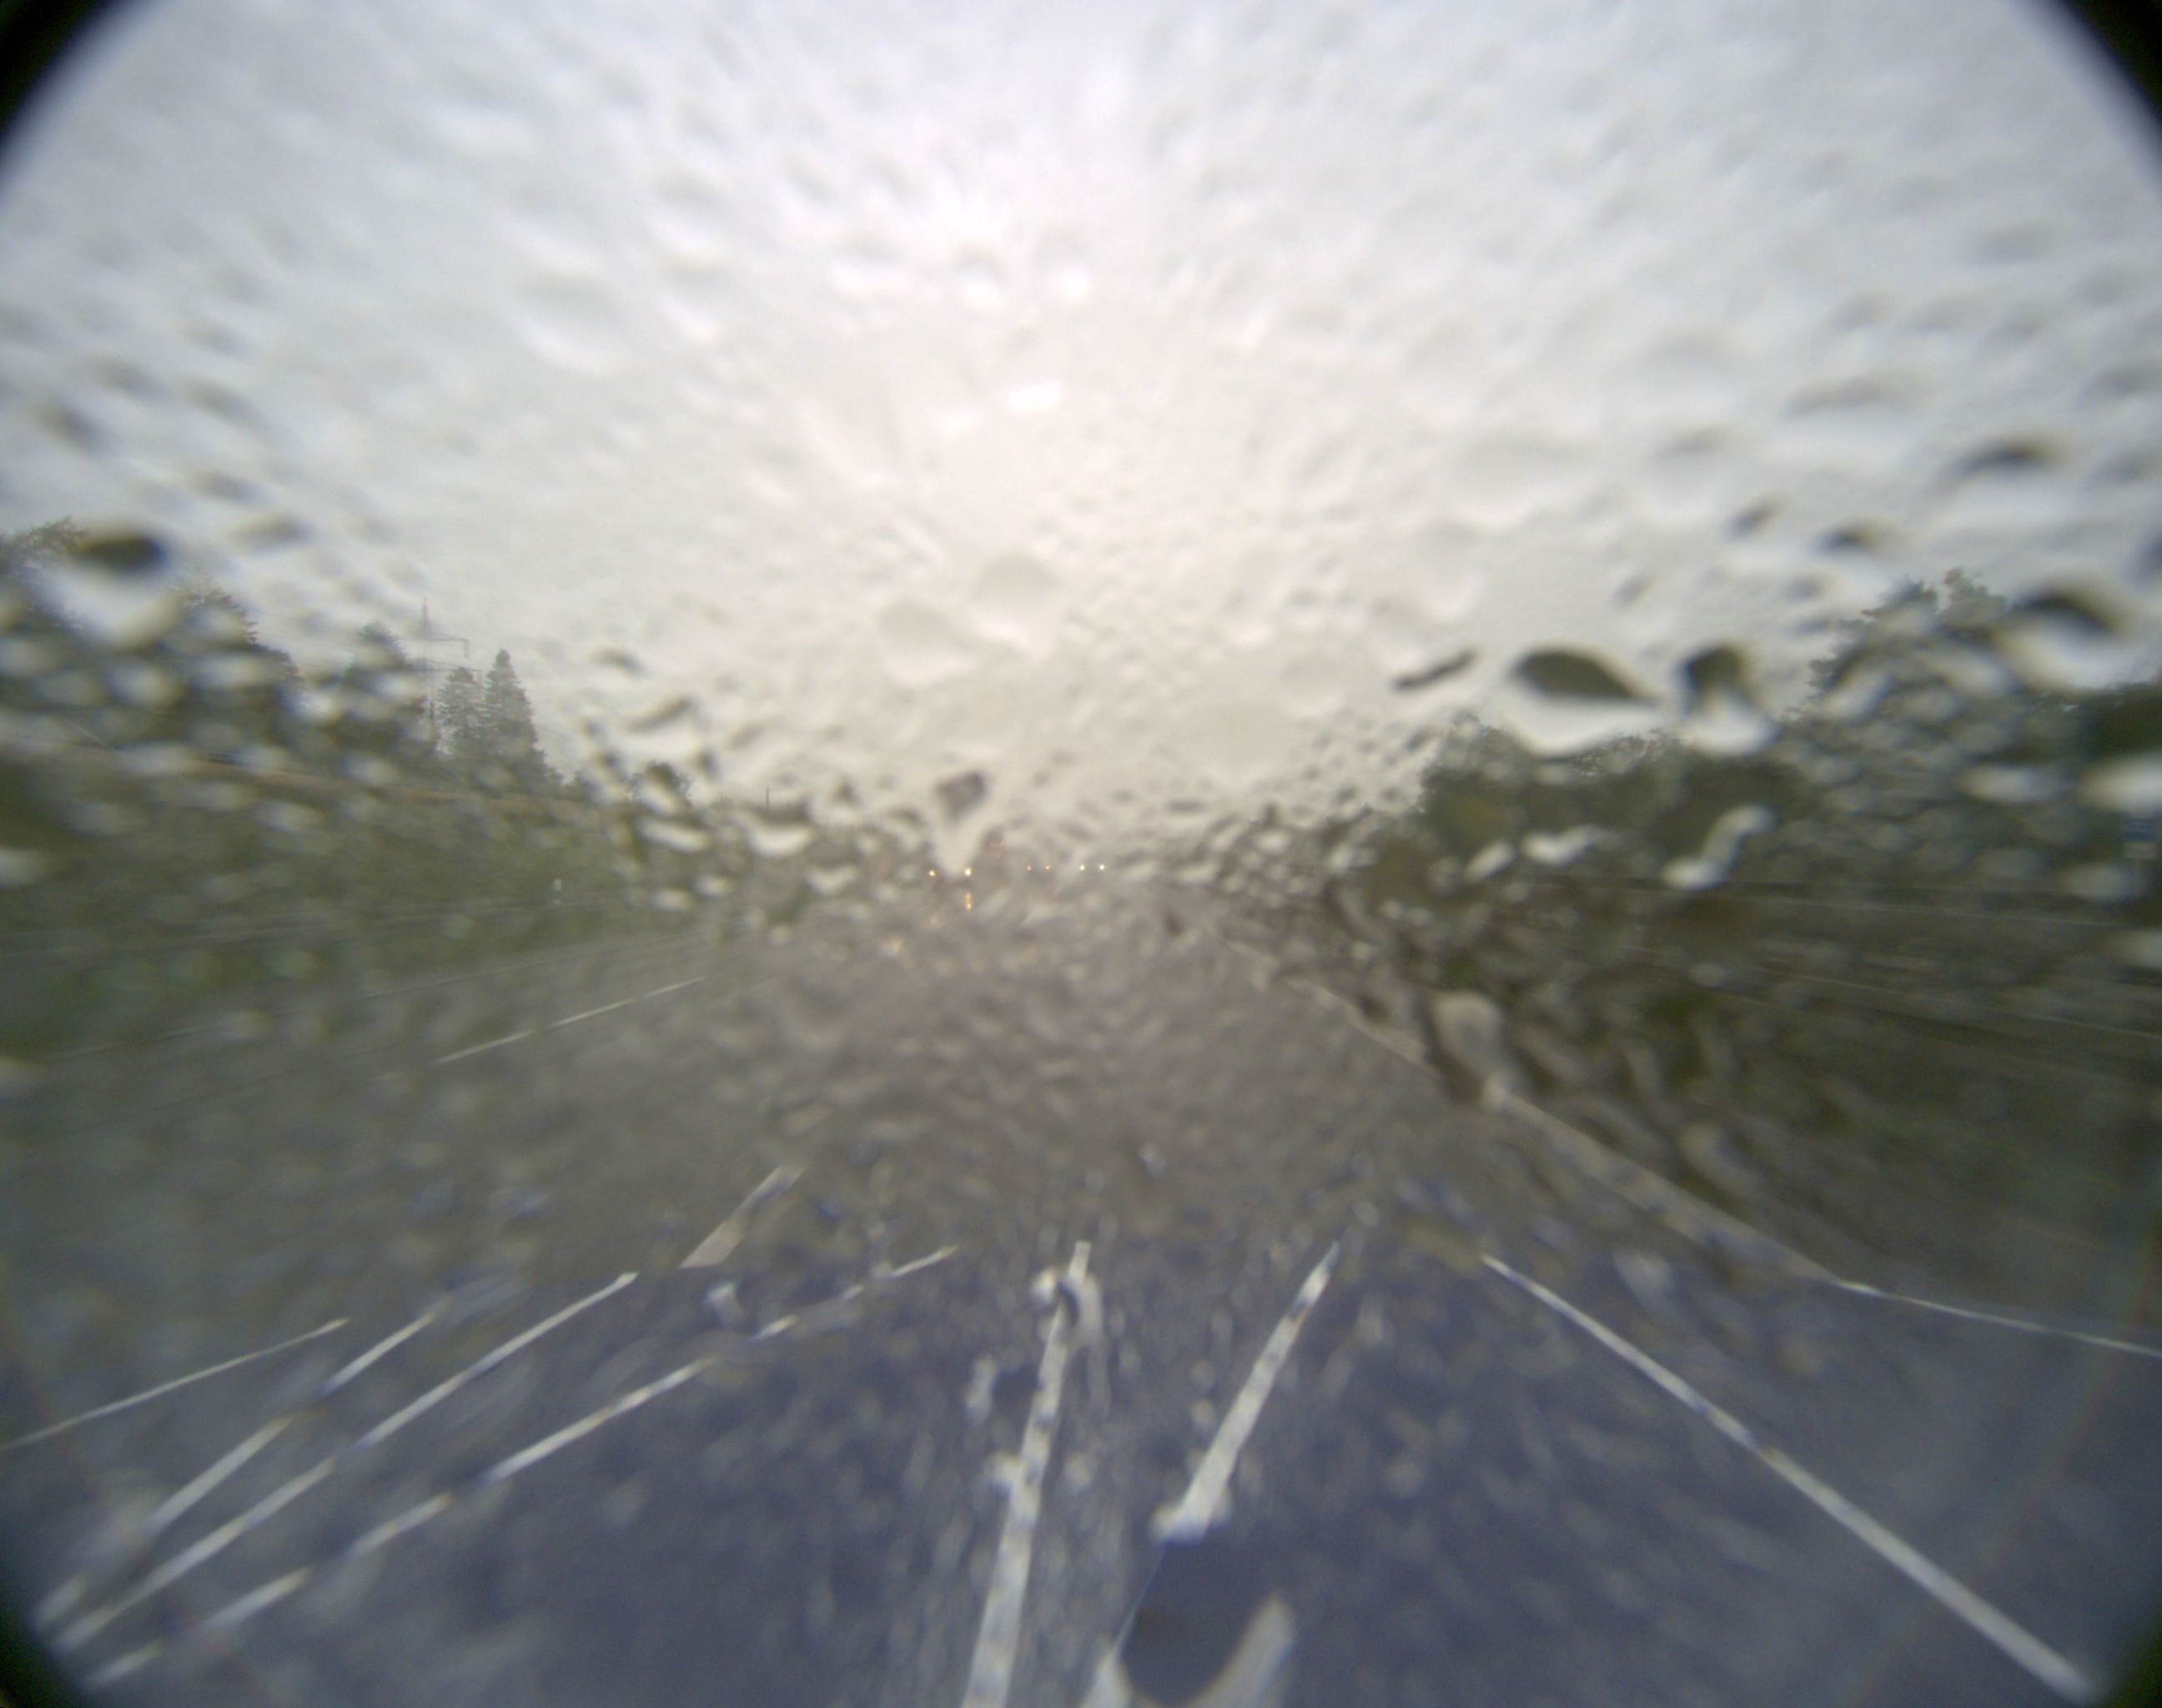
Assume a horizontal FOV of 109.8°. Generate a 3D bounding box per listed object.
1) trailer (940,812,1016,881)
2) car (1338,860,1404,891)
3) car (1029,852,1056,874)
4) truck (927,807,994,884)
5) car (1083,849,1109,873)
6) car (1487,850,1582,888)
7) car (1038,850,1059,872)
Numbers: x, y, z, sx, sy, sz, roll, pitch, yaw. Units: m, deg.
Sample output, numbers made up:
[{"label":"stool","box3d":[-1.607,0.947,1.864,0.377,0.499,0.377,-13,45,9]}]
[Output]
[{"label":"trailer","box3d":[-6.439,-0.370,50.551,2.486,3.743,16.545,-2,0,1]},{"label":"car","box3d":[15.681,1.120,41.380,1.737,1.558,4.761,-2,0,0]},{"label":"car","box3d":[-2.764,0.662,55.029,1.663,1.491,3.836,-2,0,1]},{"label":"truck","box3d":[-6.558,-0.403,42.205,2.457,3.866,6.199,-2,0,1]},{"label":"car","box3d":[1.144,0.529,57.594,1.845,1.671,4.000,-2,0,0]},{"label":"car","box3d":[19.954,0.639,33.633,1.737,1.558,4.000,-2,0,0]},{"label":"car","box3d":[-2.549,0.554,60.497,1.517,1.606,3.186,-2,0,0]}]
